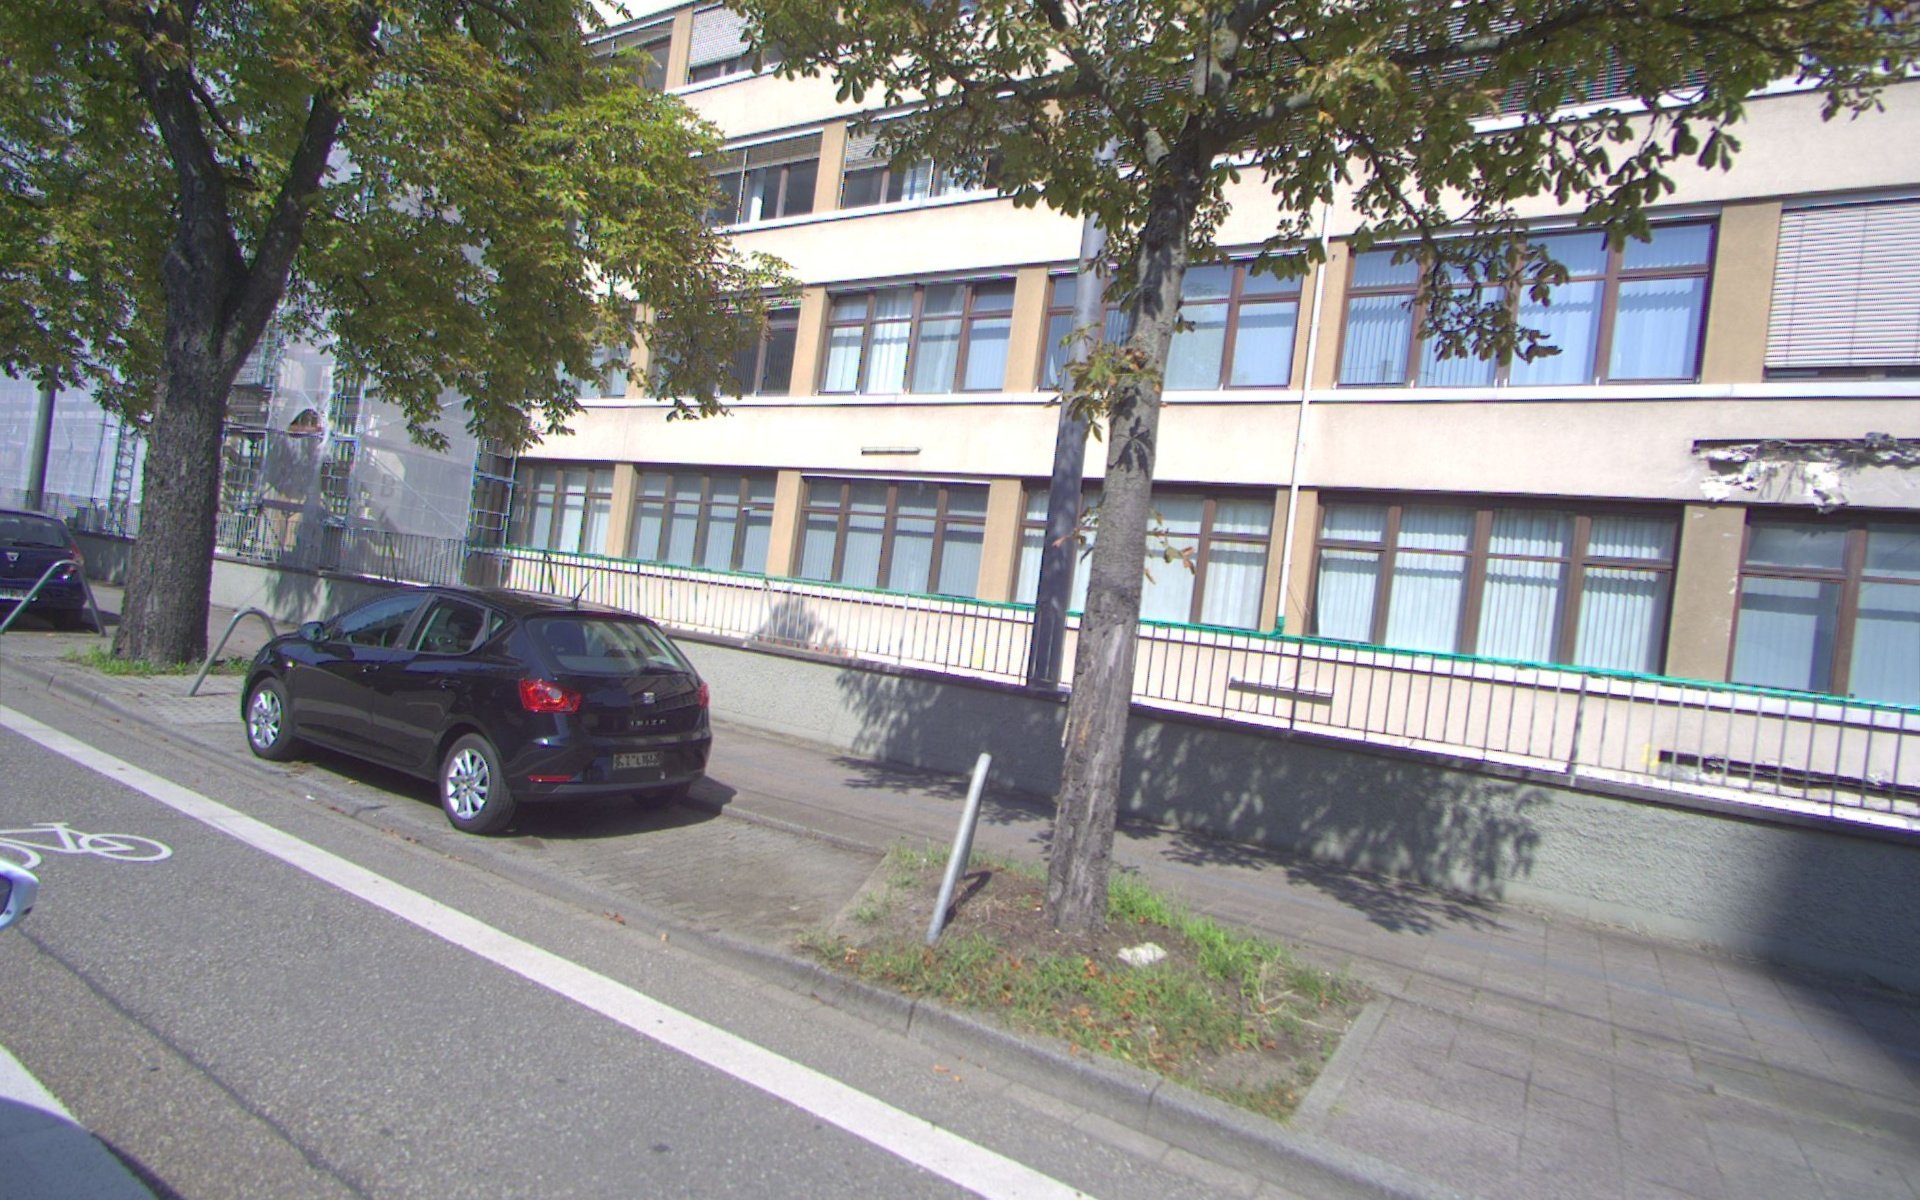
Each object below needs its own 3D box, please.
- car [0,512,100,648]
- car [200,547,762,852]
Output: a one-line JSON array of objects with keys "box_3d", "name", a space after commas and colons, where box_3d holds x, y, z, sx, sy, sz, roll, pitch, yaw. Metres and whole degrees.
[{"box_3d": [-13.279, -0.436, 13.247, 4.148, 1.574, 1.745, 6, -1, 33], "name": "car"}, {"box_3d": [-3.616, 0.562, 7.356, 4.148, 1.424, 1.661, 6, -1, 33], "name": "car"}]
